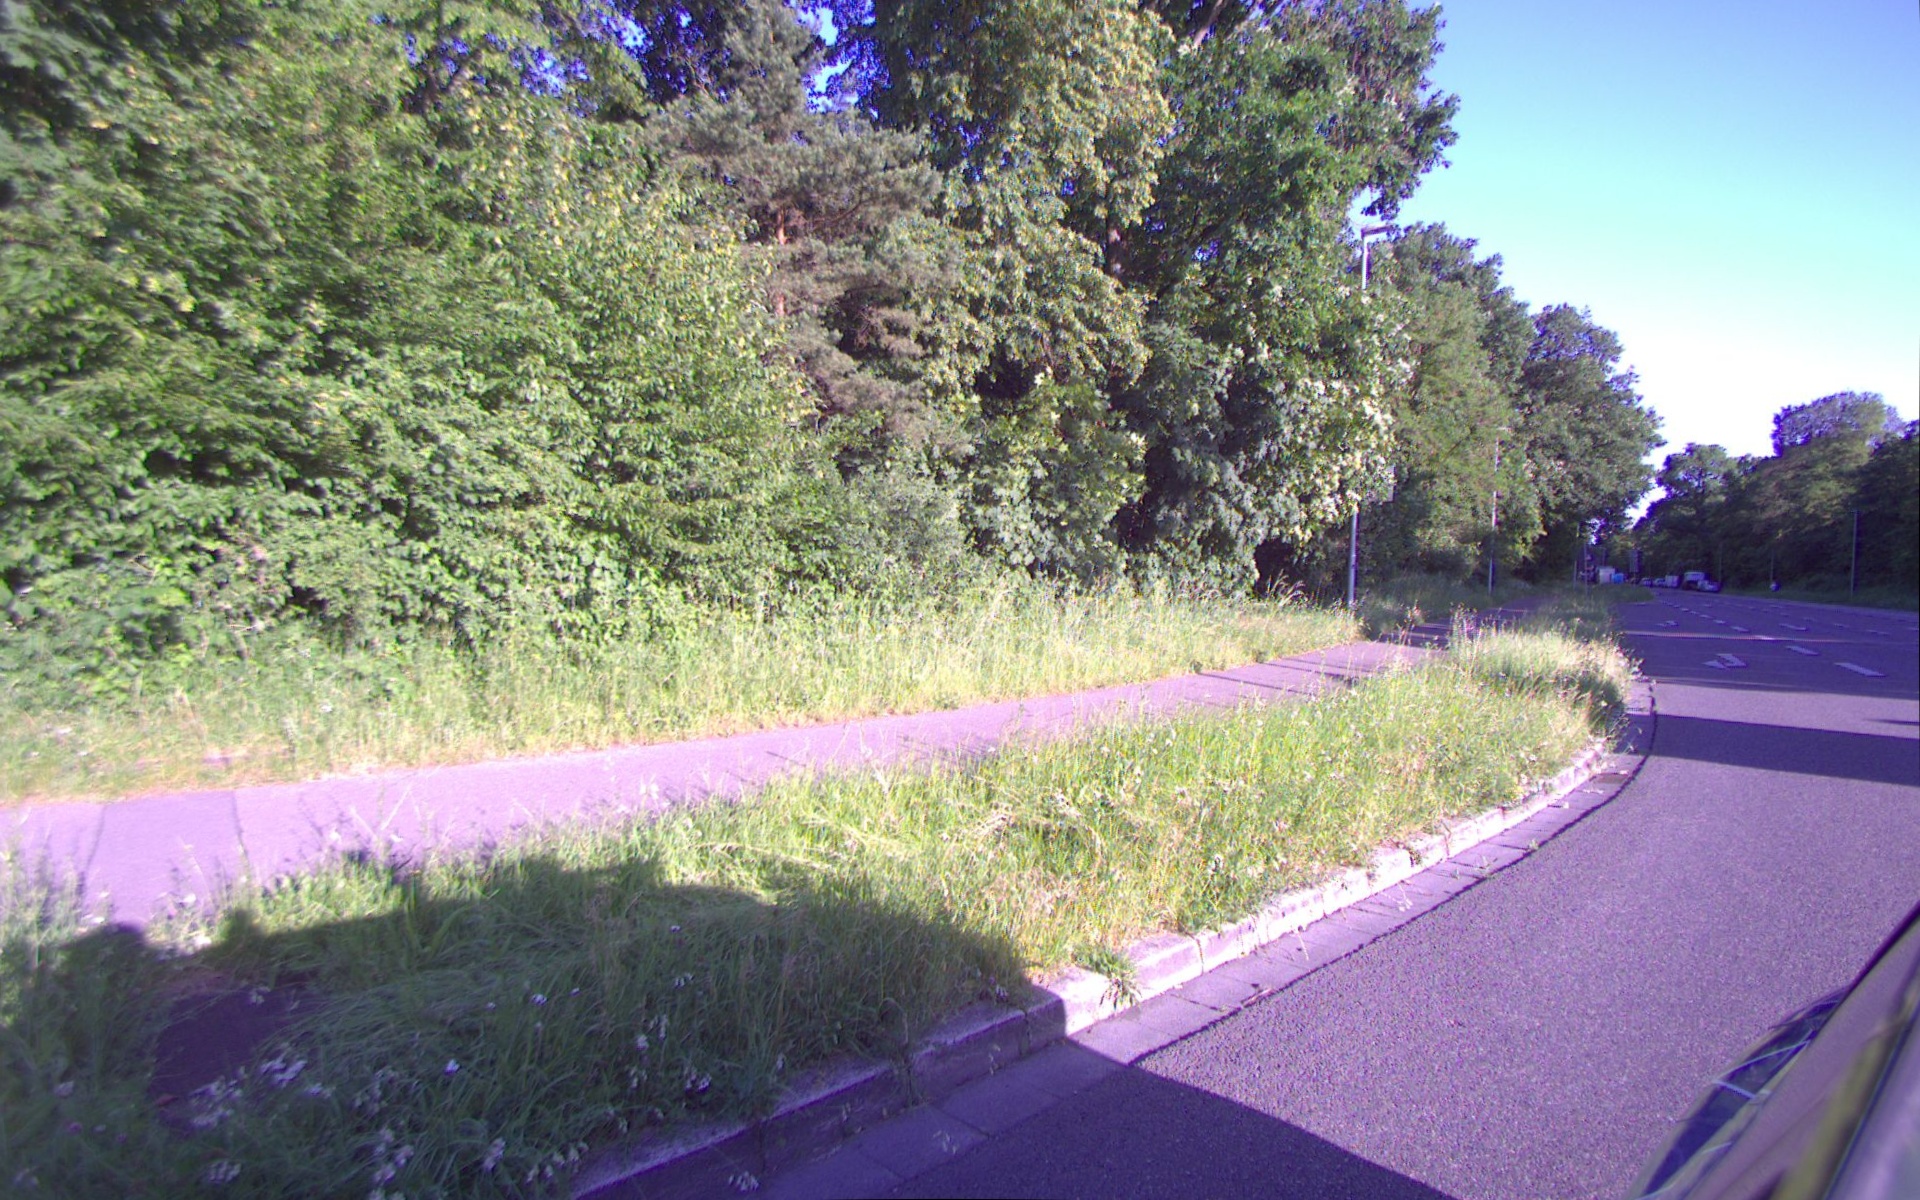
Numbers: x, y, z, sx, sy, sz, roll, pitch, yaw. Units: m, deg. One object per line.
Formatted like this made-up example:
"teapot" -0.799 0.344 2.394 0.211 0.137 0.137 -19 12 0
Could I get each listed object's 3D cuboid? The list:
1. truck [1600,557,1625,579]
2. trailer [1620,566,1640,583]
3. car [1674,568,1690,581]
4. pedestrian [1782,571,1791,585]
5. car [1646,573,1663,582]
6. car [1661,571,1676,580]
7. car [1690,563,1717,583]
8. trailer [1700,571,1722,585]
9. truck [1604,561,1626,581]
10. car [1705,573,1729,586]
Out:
"truck" 102.300 -5.054 158.752 2.685 3.276 7.057 4 4 29
"trailer" 89.470 -3.479 135.150 1.854 2.204 4.088 1 2 29
"car" 125.154 -4.444 175.506 1.678 2.126 4.586 4 4 29
"pedestrian" 97.314 -2.551 119.150 0.709 1.584 0.816 4 3 33
"car" 118.334 -3.782 172.422 1.818 1.473 4.437 3 3 28
"car" 130.647 -4.602 186.696 1.792 1.523 3.873 4 4 29
"car" 109.056 -3.987 148.477 2.441 2.881 4.751 4 4 29
"trailer" 102.536 -3.009 138.200 1.792 1.750 3.611 4 4 29
"truck" 97.488 -4.299 150.722 2.370 2.907 5.542 0 2 29
"car" 100.133 -2.741 133.856 1.900 1.481 3.972 4 4 29
